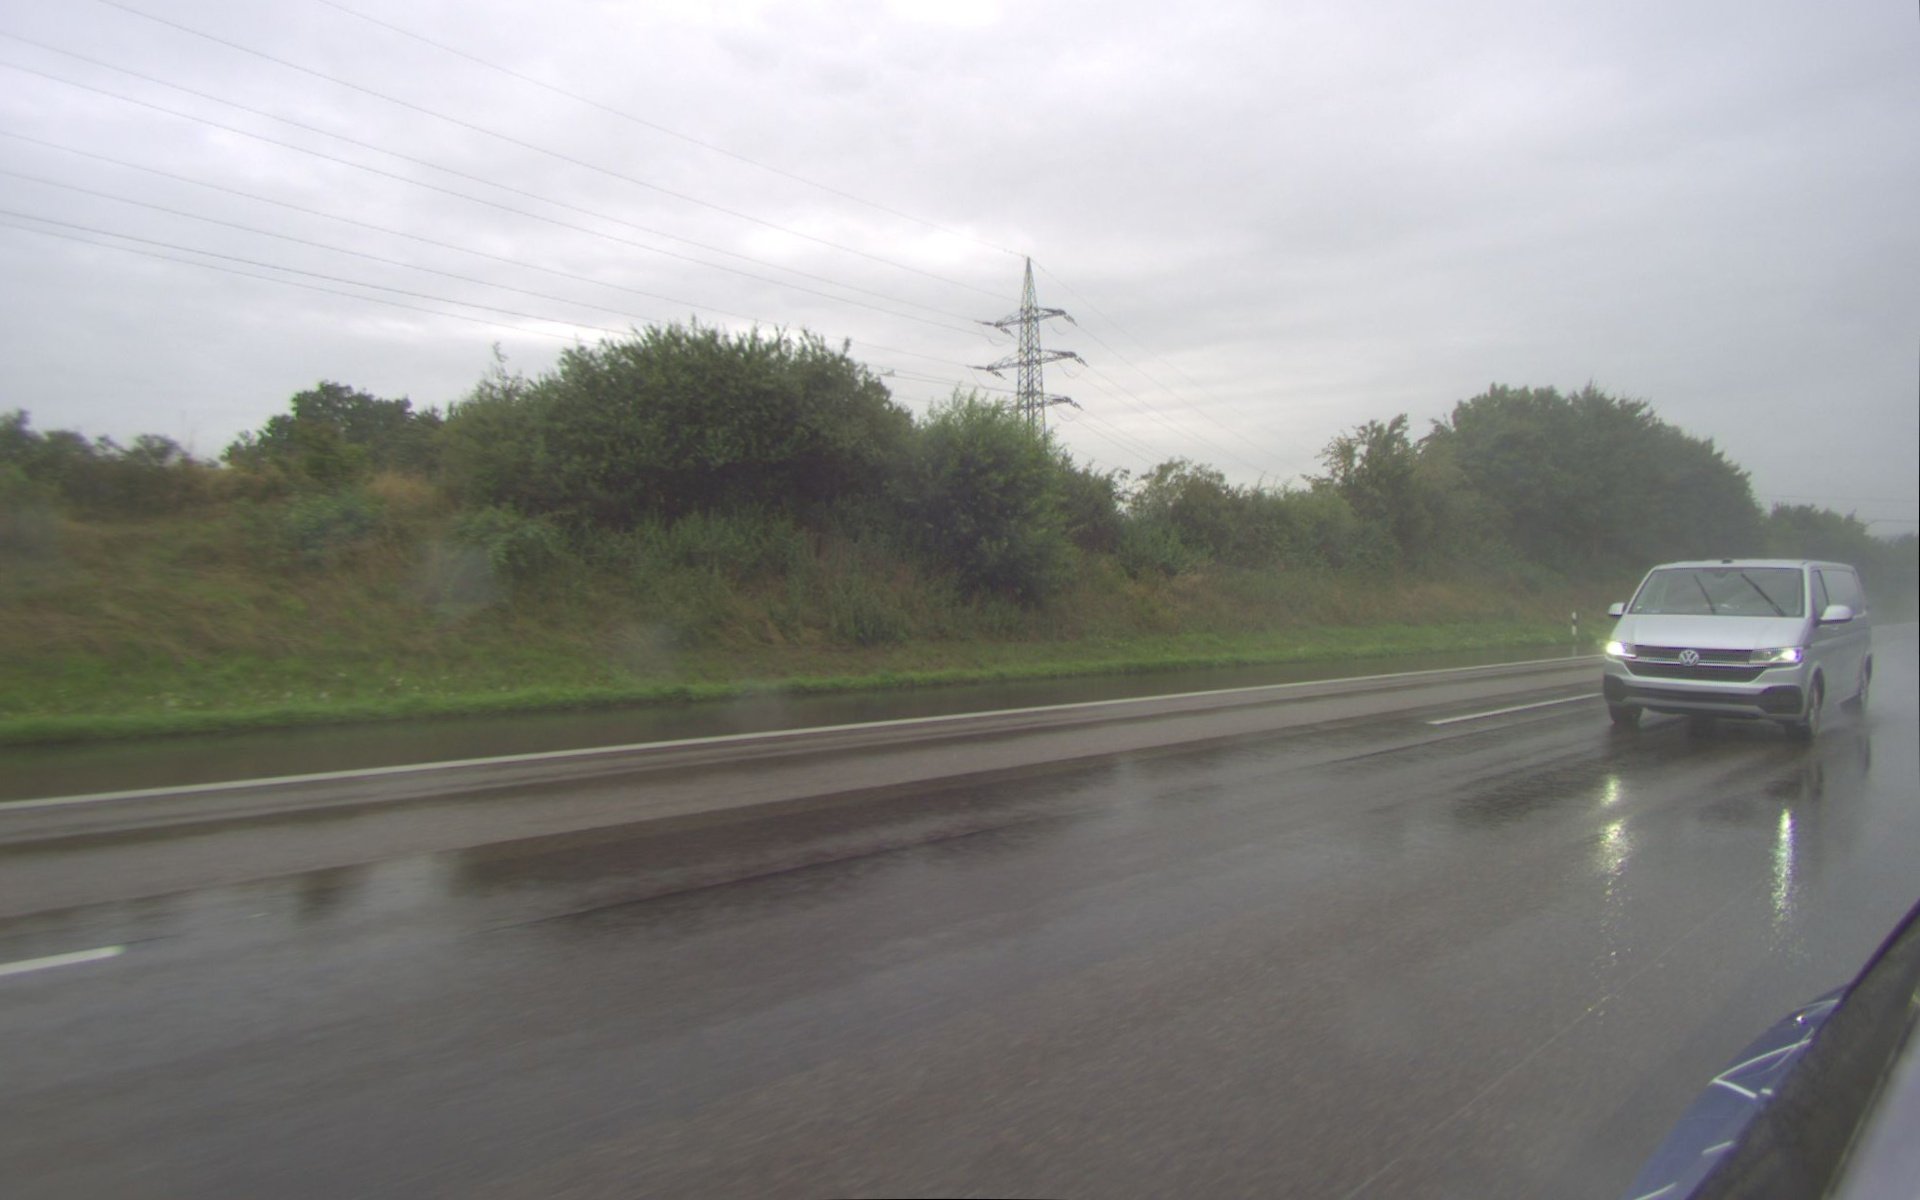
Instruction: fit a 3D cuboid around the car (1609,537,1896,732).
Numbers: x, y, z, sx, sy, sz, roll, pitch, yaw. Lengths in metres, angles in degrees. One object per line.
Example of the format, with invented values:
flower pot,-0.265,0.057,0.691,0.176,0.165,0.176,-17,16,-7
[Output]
car,9.725,0.329,12.255,4.922,1.908,1.890,0,0,-41
